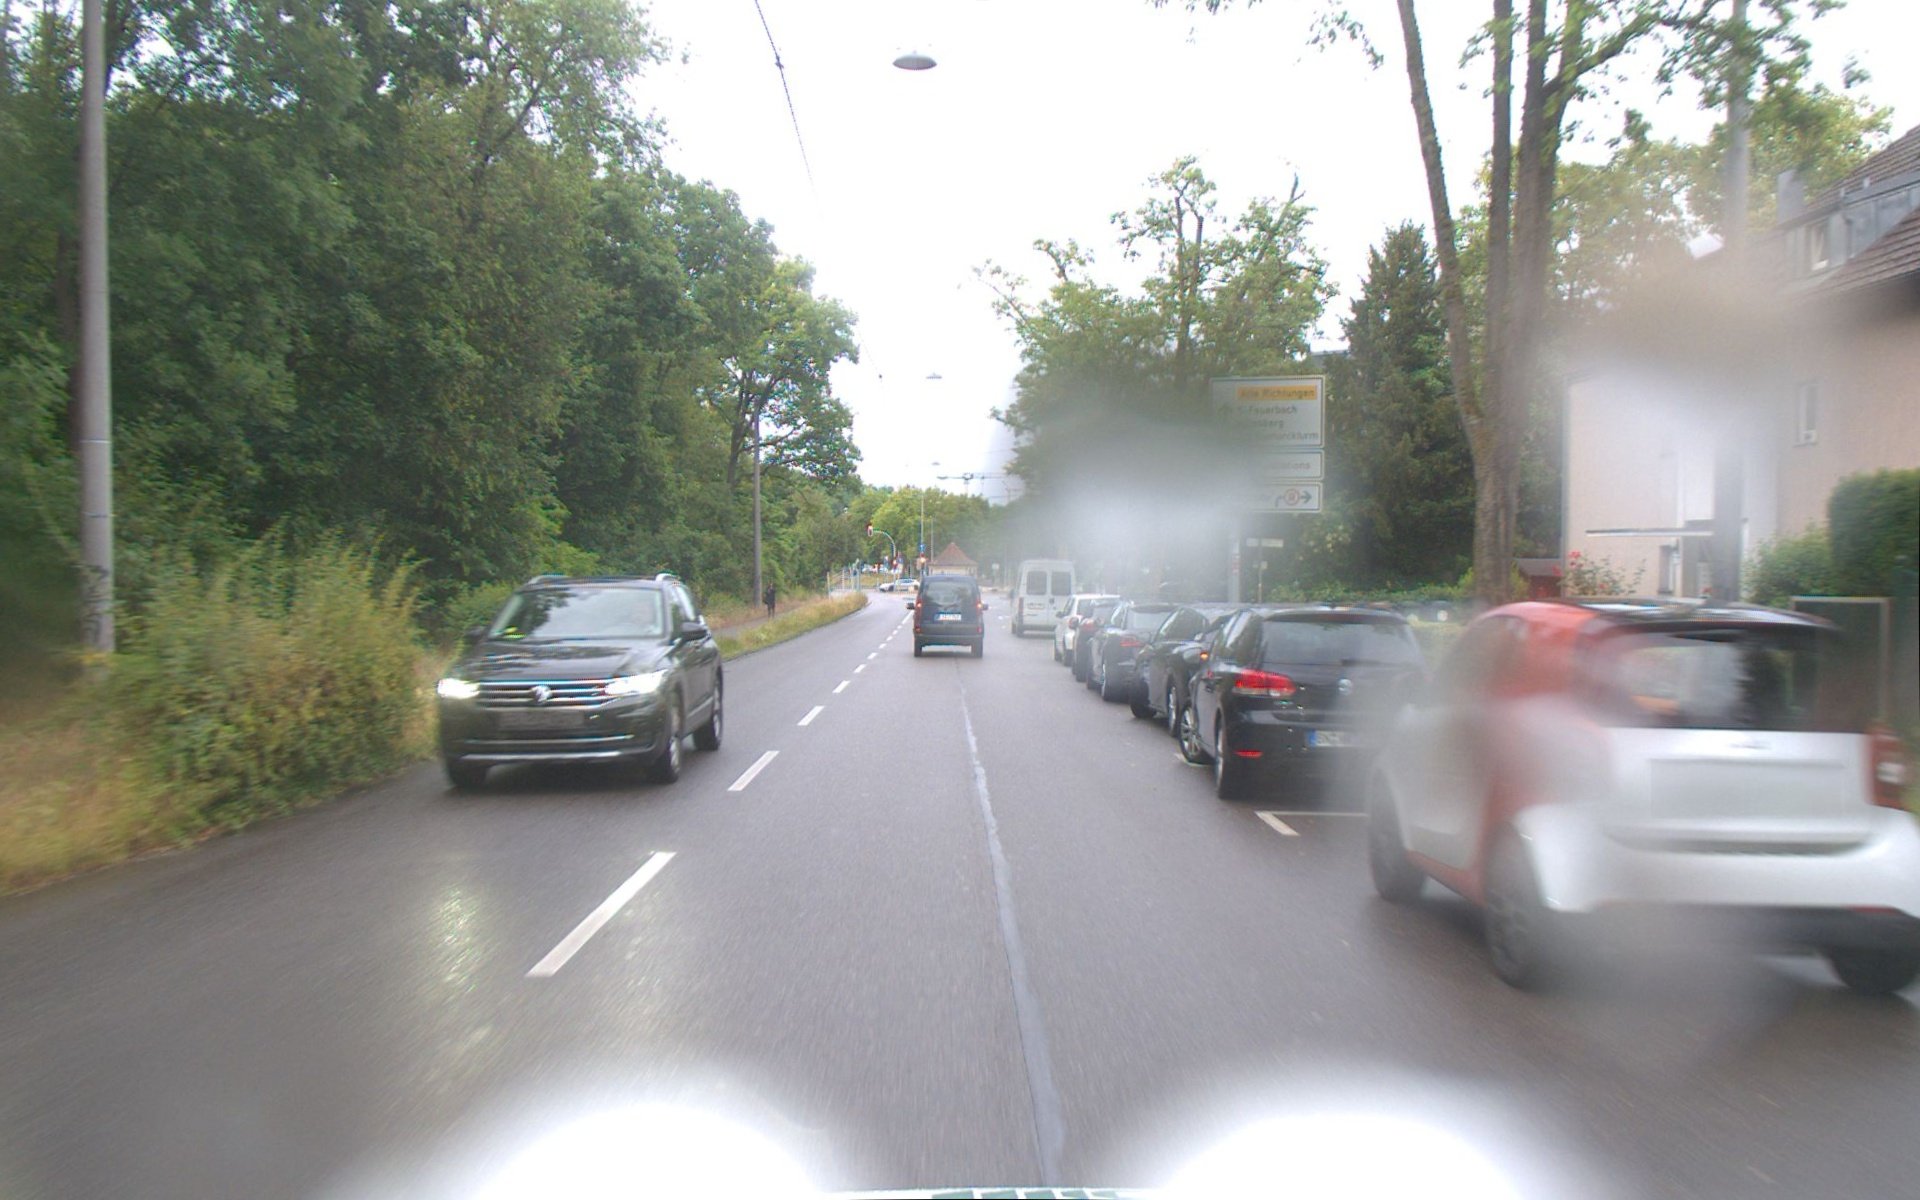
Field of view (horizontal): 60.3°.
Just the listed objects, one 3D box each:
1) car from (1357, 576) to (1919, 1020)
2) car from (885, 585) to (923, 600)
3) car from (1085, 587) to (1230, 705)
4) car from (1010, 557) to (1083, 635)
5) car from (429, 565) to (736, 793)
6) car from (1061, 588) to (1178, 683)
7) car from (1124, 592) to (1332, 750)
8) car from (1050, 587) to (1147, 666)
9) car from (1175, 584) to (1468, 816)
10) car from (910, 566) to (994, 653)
[{"bbox_3d":[2.995,0.700,7.428,1.600,1.536,2.957,2,1,-2],"label":"car"},{"bbox_3d":[-6.139,-0.832,181.733,3.951,1.400,1.720,2,1,9],"label":"car"},{"bbox_3d":[2.885,0.623,24.930,1.663,1.551,4.211,2,1,0],"label":"car"},{"bbox_3d":[2.825,-0.137,55.012,2.160,2.492,4.729,0,0,0],"label":"car"},{"bbox_3d":[-3.054,0.537,14.242,1.688,1.644,4.155,-1,1,0],"label":"car"},{"bbox_3d":[2.854,0.593,30.348,1.663,1.551,3.867,2,1,-1],"label":"car"},{"bbox_3d":[2.985,0.732,19.155,1.663,1.551,3.867,2,1,-1],"label":"car"},{"bbox_3d":[2.974,0.541,36.167,1.663,1.551,3.867,2,1,-1],"label":"car"},{"bbox_3d":[2.820,0.692,13.704,1.663,1.551,3.869,2,1,2],"label":"car"},{"bbox_3d":[-0.235,0.171,38.532,1.732,1.862,3.540,2,1,-3],"label":"car"}]
